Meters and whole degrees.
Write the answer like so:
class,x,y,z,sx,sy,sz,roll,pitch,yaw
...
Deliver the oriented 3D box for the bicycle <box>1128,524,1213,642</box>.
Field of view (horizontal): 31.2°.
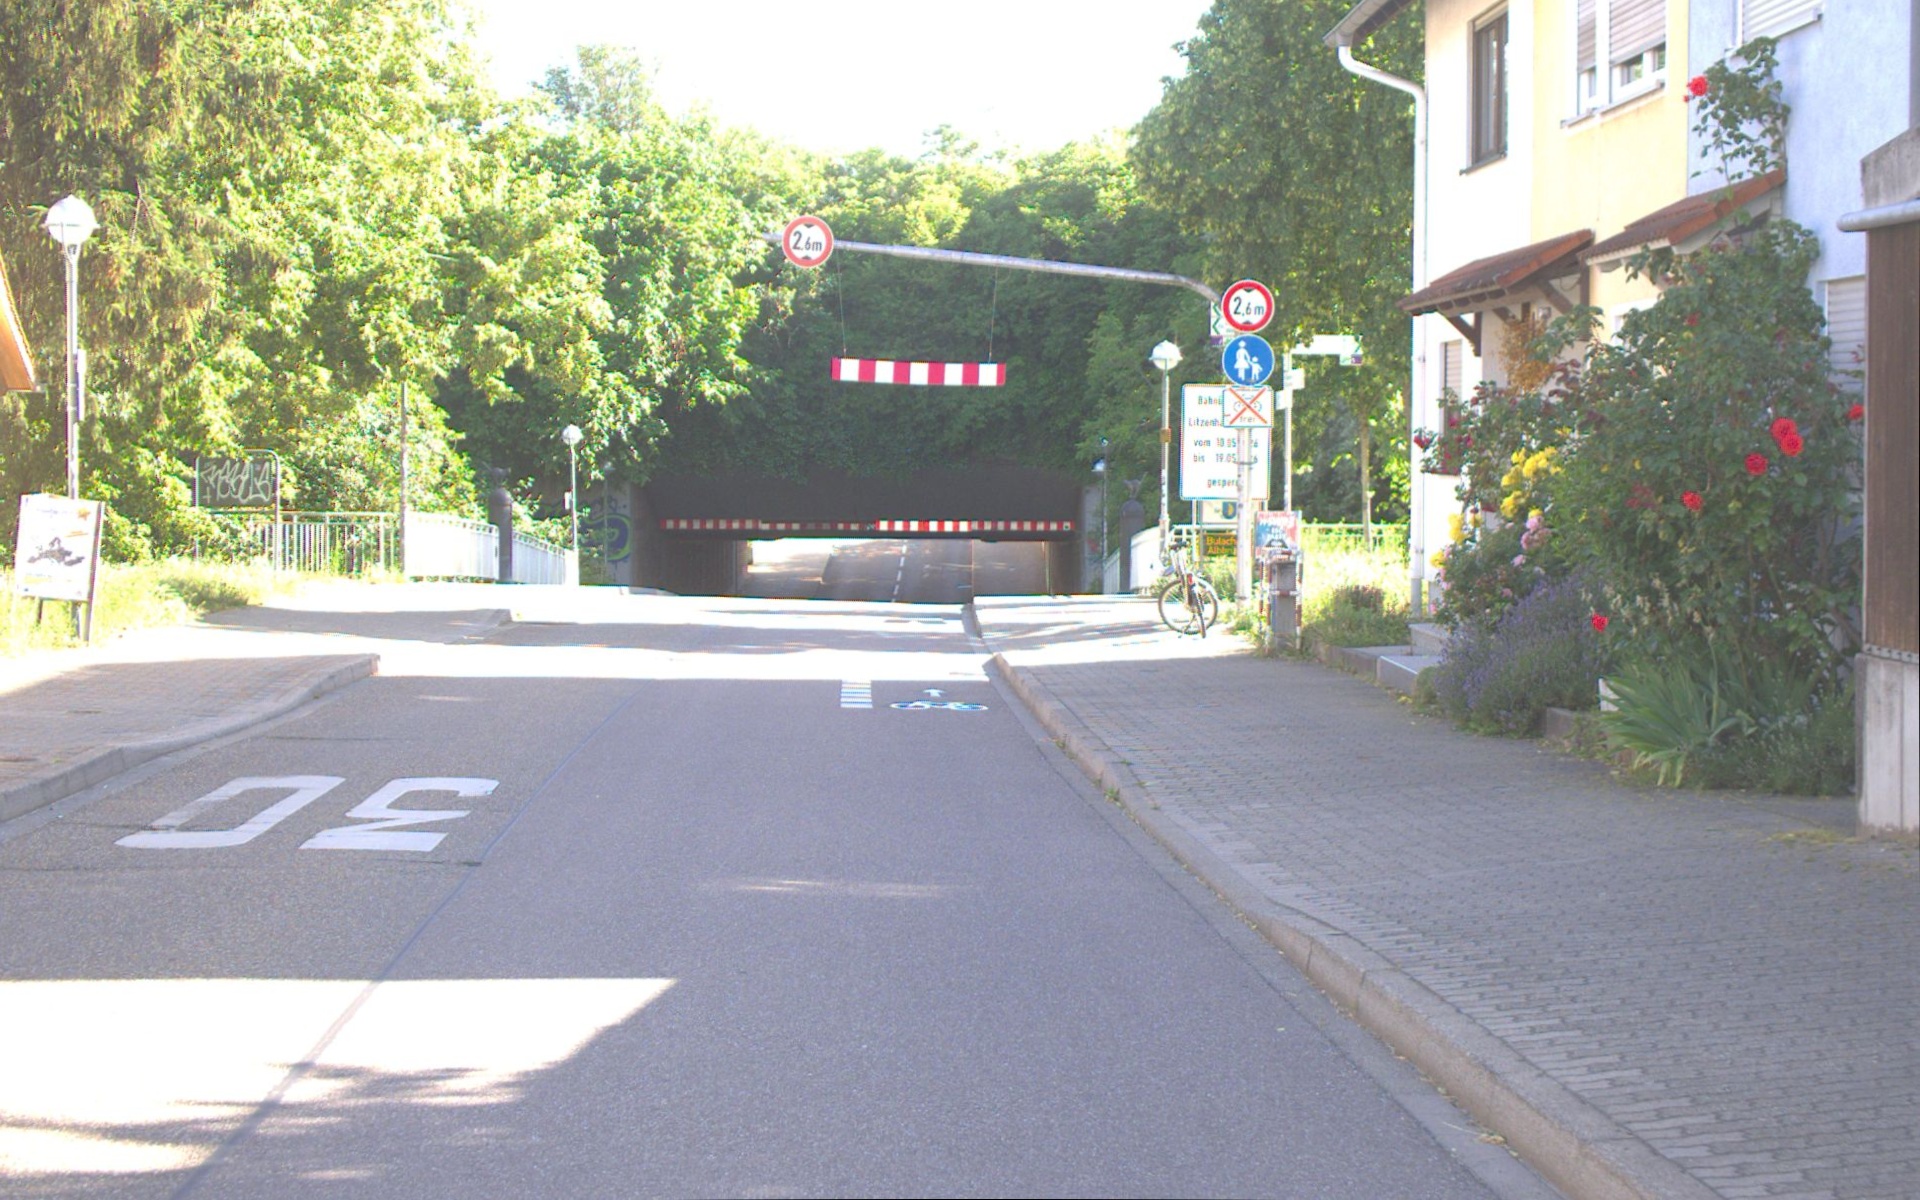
class,x,y,z,sx,sy,sz,roll,pitch,yaw
bicycle,2.211,-0.194,36.277,0.688,1.153,1.540,-4,2,-2
